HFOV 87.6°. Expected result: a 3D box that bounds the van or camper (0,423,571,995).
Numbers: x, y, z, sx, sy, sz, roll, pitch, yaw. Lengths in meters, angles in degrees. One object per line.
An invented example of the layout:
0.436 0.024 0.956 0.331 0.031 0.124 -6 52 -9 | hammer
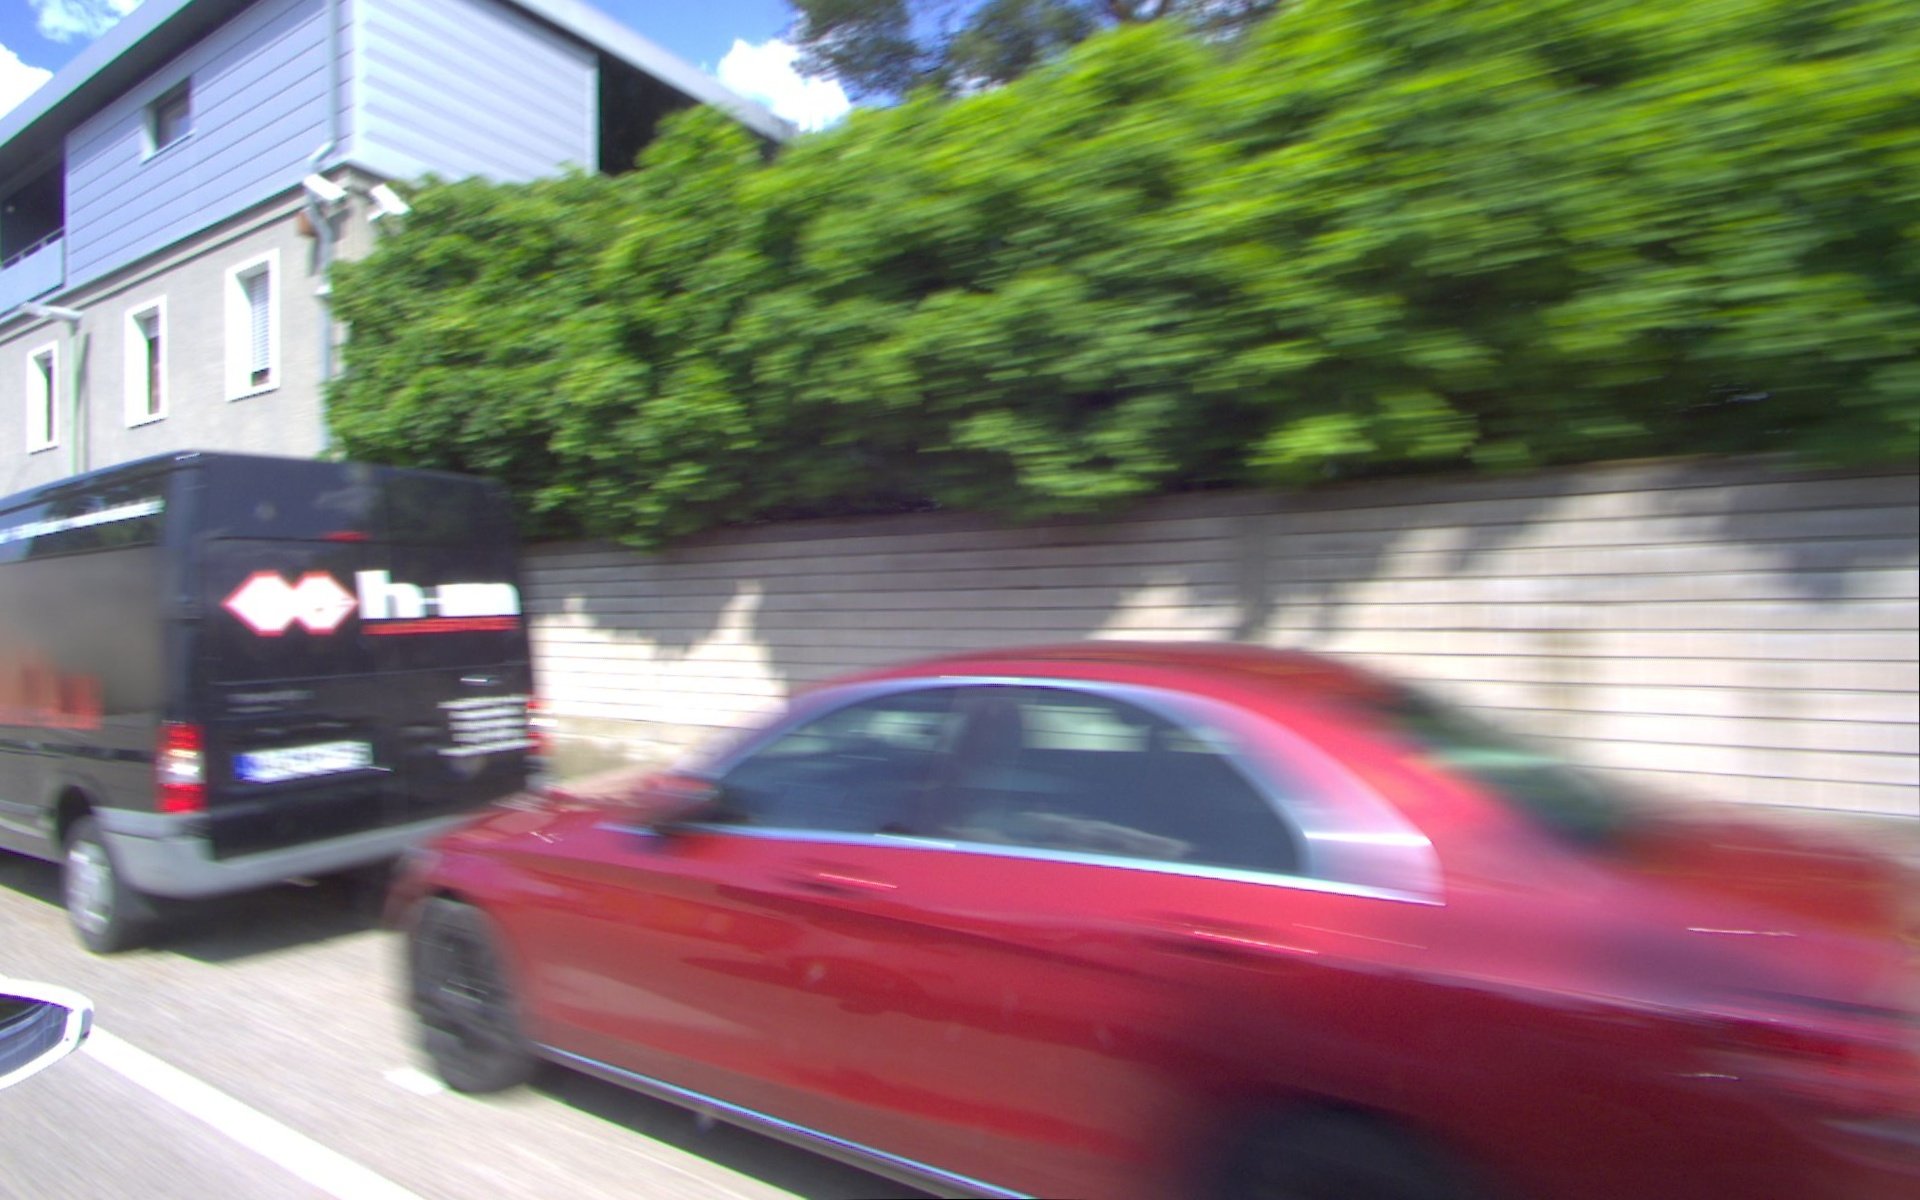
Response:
-5.049 0.512 6.352 5.370 2.320 1.991 -1 -2 32 | van or camper

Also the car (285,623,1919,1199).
-0.120 0.818 3.243 4.698 1.460 1.679 -1 -2 32 | car

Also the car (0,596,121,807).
-10.399 0.891 9.708 4.881 1.803 1.958 -1 -2 31 | car
